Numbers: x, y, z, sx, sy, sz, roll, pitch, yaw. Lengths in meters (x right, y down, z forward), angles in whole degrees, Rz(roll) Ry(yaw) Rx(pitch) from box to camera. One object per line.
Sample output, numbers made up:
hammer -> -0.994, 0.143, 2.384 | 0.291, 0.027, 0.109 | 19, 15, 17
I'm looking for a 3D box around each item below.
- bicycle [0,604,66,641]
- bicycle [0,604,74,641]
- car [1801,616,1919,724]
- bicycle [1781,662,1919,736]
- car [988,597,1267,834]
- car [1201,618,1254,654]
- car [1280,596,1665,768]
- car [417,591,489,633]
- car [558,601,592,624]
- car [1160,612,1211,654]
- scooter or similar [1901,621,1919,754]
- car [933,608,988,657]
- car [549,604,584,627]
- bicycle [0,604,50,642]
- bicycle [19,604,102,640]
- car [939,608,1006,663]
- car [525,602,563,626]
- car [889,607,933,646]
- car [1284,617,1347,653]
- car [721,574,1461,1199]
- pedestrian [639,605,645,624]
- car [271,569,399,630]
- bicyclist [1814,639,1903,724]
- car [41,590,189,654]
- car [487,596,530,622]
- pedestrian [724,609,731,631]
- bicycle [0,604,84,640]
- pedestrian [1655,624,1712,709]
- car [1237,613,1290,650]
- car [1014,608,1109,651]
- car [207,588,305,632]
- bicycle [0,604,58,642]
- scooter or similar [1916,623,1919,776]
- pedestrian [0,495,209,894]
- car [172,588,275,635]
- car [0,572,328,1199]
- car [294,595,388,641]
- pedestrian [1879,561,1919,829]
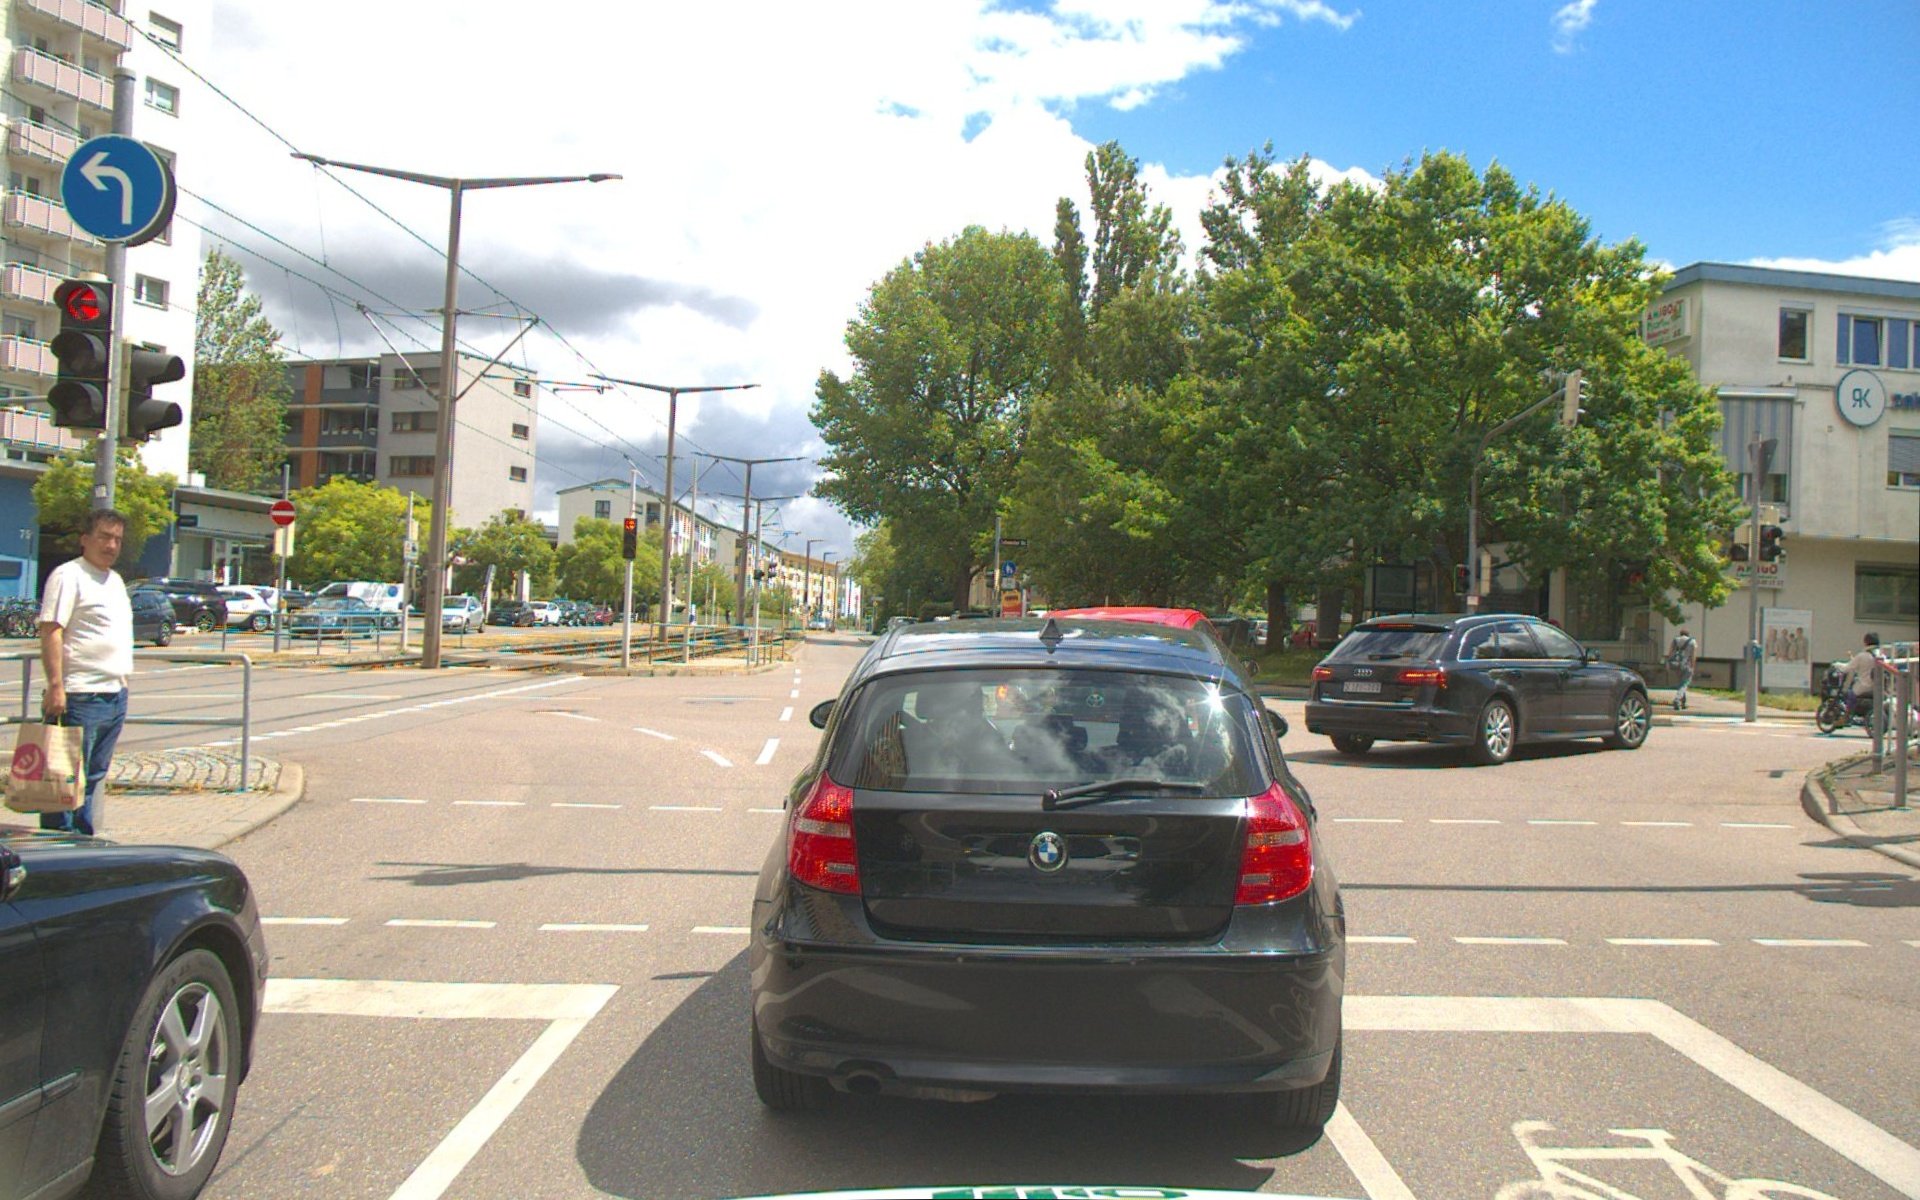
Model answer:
bicycle -> -24.739, 0.595, 43.696 | 1.909, 0.951, 0.494 | 1, -1, -7
bicycle -> -24.799, 0.596, 44.179 | 1.909, 0.951, 0.494 | 1, -1, -7
car -> 17.183, 1.198, 28.475 | 4.472, 1.747, 1.997 | 1, 0, -8
bicycle -> 11.554, 1.267, 21.502 | 0.776, 0.833, 1.807 | 2, 0, -3
car -> 1.354, 0.739, 12.237 | 1.509, 1.466, 3.198 | 1, 0, 15
car -> 12.573, 1.666, 77.931 | 1.598, 1.600, 4.029 | 1, 0, -4
car -> 5.534, 0.791, 17.546 | 4.484, 1.581, 1.969 | 1, -1, -43
car -> -21.614, 0.493, 70.650 | 1.897, 1.722, 3.872 | 1, 0, -1
car -> -25.991, 0.831, 111.746 | 1.728, 1.419, 3.994 | 1, 0, -7
car -> 10.451, 1.497, 76.860 | 1.598, 1.842, 4.029 | 1, 0, -4
scooter or similar -> 9.208, 0.816, 14.931 | 1.338, 1.176, 0.539 | 3, 0, -26
car -> -0.002, 1.213, 61.639 | 1.953, 1.713, 3.999 | 1, -1, -1
car -> -25.420, 0.984, 106.931 | 1.728, 1.419, 3.994 | 1, 0, -7
bicycle -> -24.630, 0.592, 42.691 | 1.909, 0.951, 0.494 | 1, -1, -7
bicycle -> -24.654, 0.604, 45.347 | 1.909, 0.951, 0.494 | 1, -1, -7
car -> 0.376, 1.155, 54.197 | 2.108, 1.713, 3.999 | 1, -1, -1
car -> -25.279, 0.847, 100.610 | 1.728, 1.419, 3.994 | 1, 0, -7
car -> -2.248, 1.220, 77.025 | 1.953, 1.713, 3.999 | 1, 0, -1
car -> 17.076, 1.652, 79.595 | 1.698, 1.623, 3.993 | 1, 0, -8
car -> 0.292, 0.711, 5.904 | 1.717, 1.513, 3.999 | 1, 0, -1
pedestrian -> -26.930, 1.232, 140.112 | 0.444, 1.665, 0.480 | 1, 0, -5
car -> -27.085, -0.041, 71.547 | 2.810, 2.522, 6.614 | 1, 0, -44
bicyclist -> 11.567, 1.043, 21.299 | 0.776, 1.040, 0.635 | 2, 0, -3
car -> -20.926, 0.503, 41.154 | 1.596, 1.438, 4.252 | 1, 1, -2
car -> -25.371, 0.507, 93.082 | 1.728, 1.419, 3.994 | 1, 0, -7
pedestrian -> -18.116, 1.561, 129.060 | 0.469, 1.665, 0.454 | 1, 0, -2
bicycle -> -24.810, 0.598, 44.725 | 1.909, 0.951, 0.494 | 1, -1, -7
pedestrian -> 14.799, 1.352, 33.841 | 0.900, 1.672, 0.759 | 2, 0, -43
car -> 14.492, 1.483, 79.163 | 1.598, 1.623, 3.997 | 1, 0, -4
car -> 4.646, 1.340, 75.765 | 3.933, 1.855, 1.766 | 1, 0, -23
car -> -26.979, 0.365, 63.351 | 4.144, 1.564, 1.949 | 1, 0, 43
bicycle -> -24.693, 0.593, 43.191 | 1.909, 0.951, 0.494 | 1, -1, -7
scooter or similar -> 8.399, 0.792, 13.113 | 1.315, 1.299, 0.462 | 1, 1, 6
pedestrian -> -4.252, 0.439, 8.035 | 0.851, 1.839, 0.741 | 1, 0, -5
car -> -26.712, 0.423, 59.934 | 4.144, 1.597, 1.949 | 1, 0, 43
car -> -2.582, 0.674, 2.266 | 1.693, 1.487, 4.543 | 1, 0, -1
car -> -20.602, 0.611, 55.237 | 1.602, 1.424, 4.491 | 2, -1, -3
pedestrian -> 6.667, 0.608, 10.843 | 0.932, 1.703, 0.871 | 0, 0, 14
